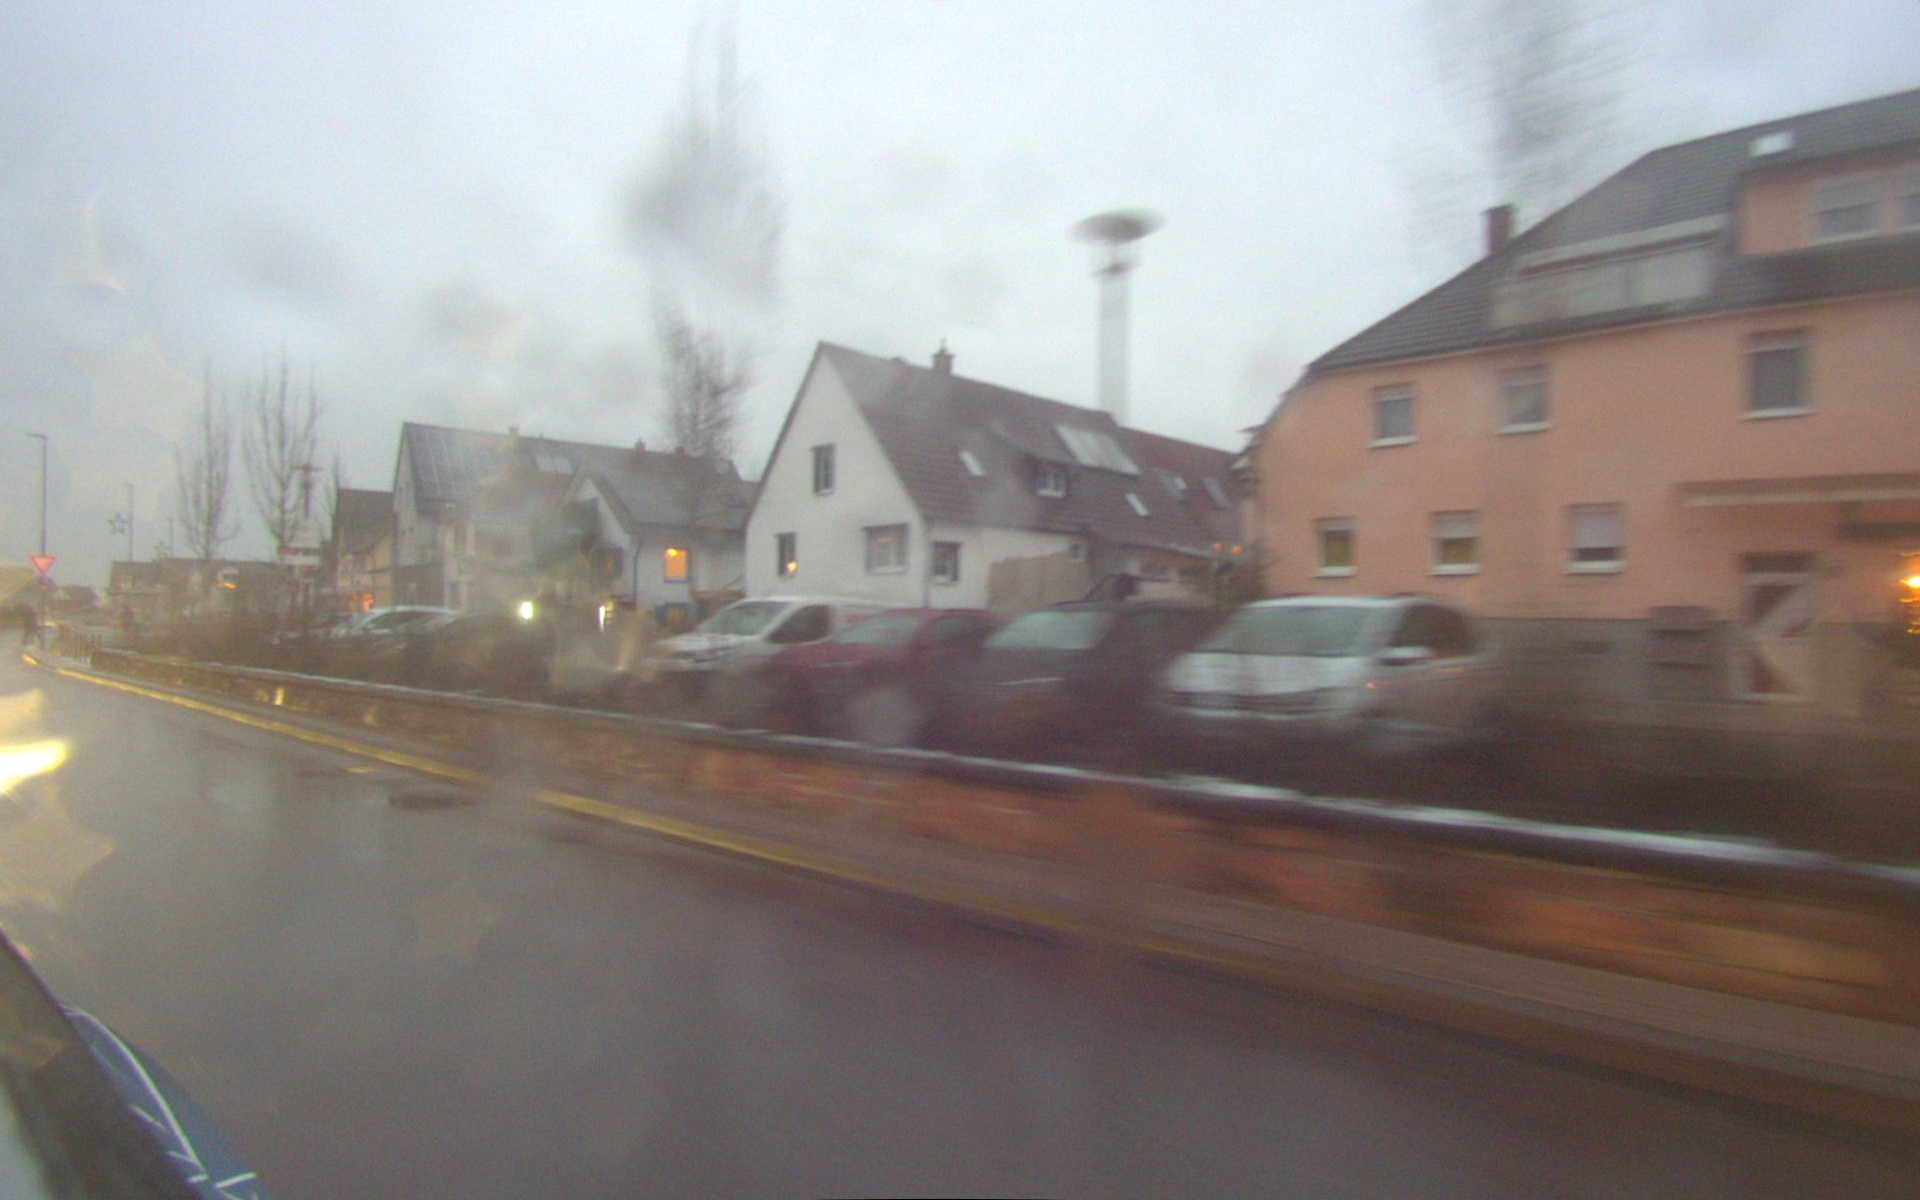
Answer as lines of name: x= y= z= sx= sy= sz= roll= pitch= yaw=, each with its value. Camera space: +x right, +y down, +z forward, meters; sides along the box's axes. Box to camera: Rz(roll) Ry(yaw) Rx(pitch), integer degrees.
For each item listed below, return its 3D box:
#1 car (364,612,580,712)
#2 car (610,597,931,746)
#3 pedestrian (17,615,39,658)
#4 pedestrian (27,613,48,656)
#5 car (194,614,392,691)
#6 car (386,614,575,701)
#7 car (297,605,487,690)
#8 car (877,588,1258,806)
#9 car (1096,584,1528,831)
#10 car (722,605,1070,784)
car: x=-10.451 y=1.373 z=21.857 sx=1.748 sy=1.966 sz=3.756 roll=-3 pitch=-6 yaw=41
car: x=-2.569 y=0.969 z=14.615 sx=1.843 sy=1.815 sz=4.367 roll=-2 pitch=-3 yaw=41
pedestrian: x=-44.314 y=1.741 z=48.120 sx=0.604 sy=2.029 sz=0.665 roll=-2 pitch=-2 yaw=41
pedestrian: x=-44.625 y=1.662 z=48.968 sx=0.547 sy=2.048 sz=0.658 roll=-2 pitch=-2 yaw=39
car: x=-17.523 y=1.380 z=26.713 sx=1.975 sy=1.863 sz=3.946 roll=-2 pitch=-3 yaw=40
car: x=-11.714 y=1.449 z=24.900 sx=1.748 sy=1.966 sz=3.756 roll=-3 pitch=-6 yaw=41
car: x=-14.313 y=1.264 z=25.653 sx=1.748 sy=1.966 sz=3.756 roll=-3 pitch=-6 yaw=41
car: x=1.377 y=0.947 z=11.117 sx=1.999 sy=1.881 sz=4.456 roll=-2 pitch=-3 yaw=41
car: x=3.492 y=0.870 z=9.417 sx=2.000 sy=1.697 sz=4.812 roll=-3 pitch=-5 yaw=43
car: x=-0.629 y=1.097 z=12.959 sx=1.867 sy=1.881 sz=4.456 roll=-2 pitch=-3 yaw=41
